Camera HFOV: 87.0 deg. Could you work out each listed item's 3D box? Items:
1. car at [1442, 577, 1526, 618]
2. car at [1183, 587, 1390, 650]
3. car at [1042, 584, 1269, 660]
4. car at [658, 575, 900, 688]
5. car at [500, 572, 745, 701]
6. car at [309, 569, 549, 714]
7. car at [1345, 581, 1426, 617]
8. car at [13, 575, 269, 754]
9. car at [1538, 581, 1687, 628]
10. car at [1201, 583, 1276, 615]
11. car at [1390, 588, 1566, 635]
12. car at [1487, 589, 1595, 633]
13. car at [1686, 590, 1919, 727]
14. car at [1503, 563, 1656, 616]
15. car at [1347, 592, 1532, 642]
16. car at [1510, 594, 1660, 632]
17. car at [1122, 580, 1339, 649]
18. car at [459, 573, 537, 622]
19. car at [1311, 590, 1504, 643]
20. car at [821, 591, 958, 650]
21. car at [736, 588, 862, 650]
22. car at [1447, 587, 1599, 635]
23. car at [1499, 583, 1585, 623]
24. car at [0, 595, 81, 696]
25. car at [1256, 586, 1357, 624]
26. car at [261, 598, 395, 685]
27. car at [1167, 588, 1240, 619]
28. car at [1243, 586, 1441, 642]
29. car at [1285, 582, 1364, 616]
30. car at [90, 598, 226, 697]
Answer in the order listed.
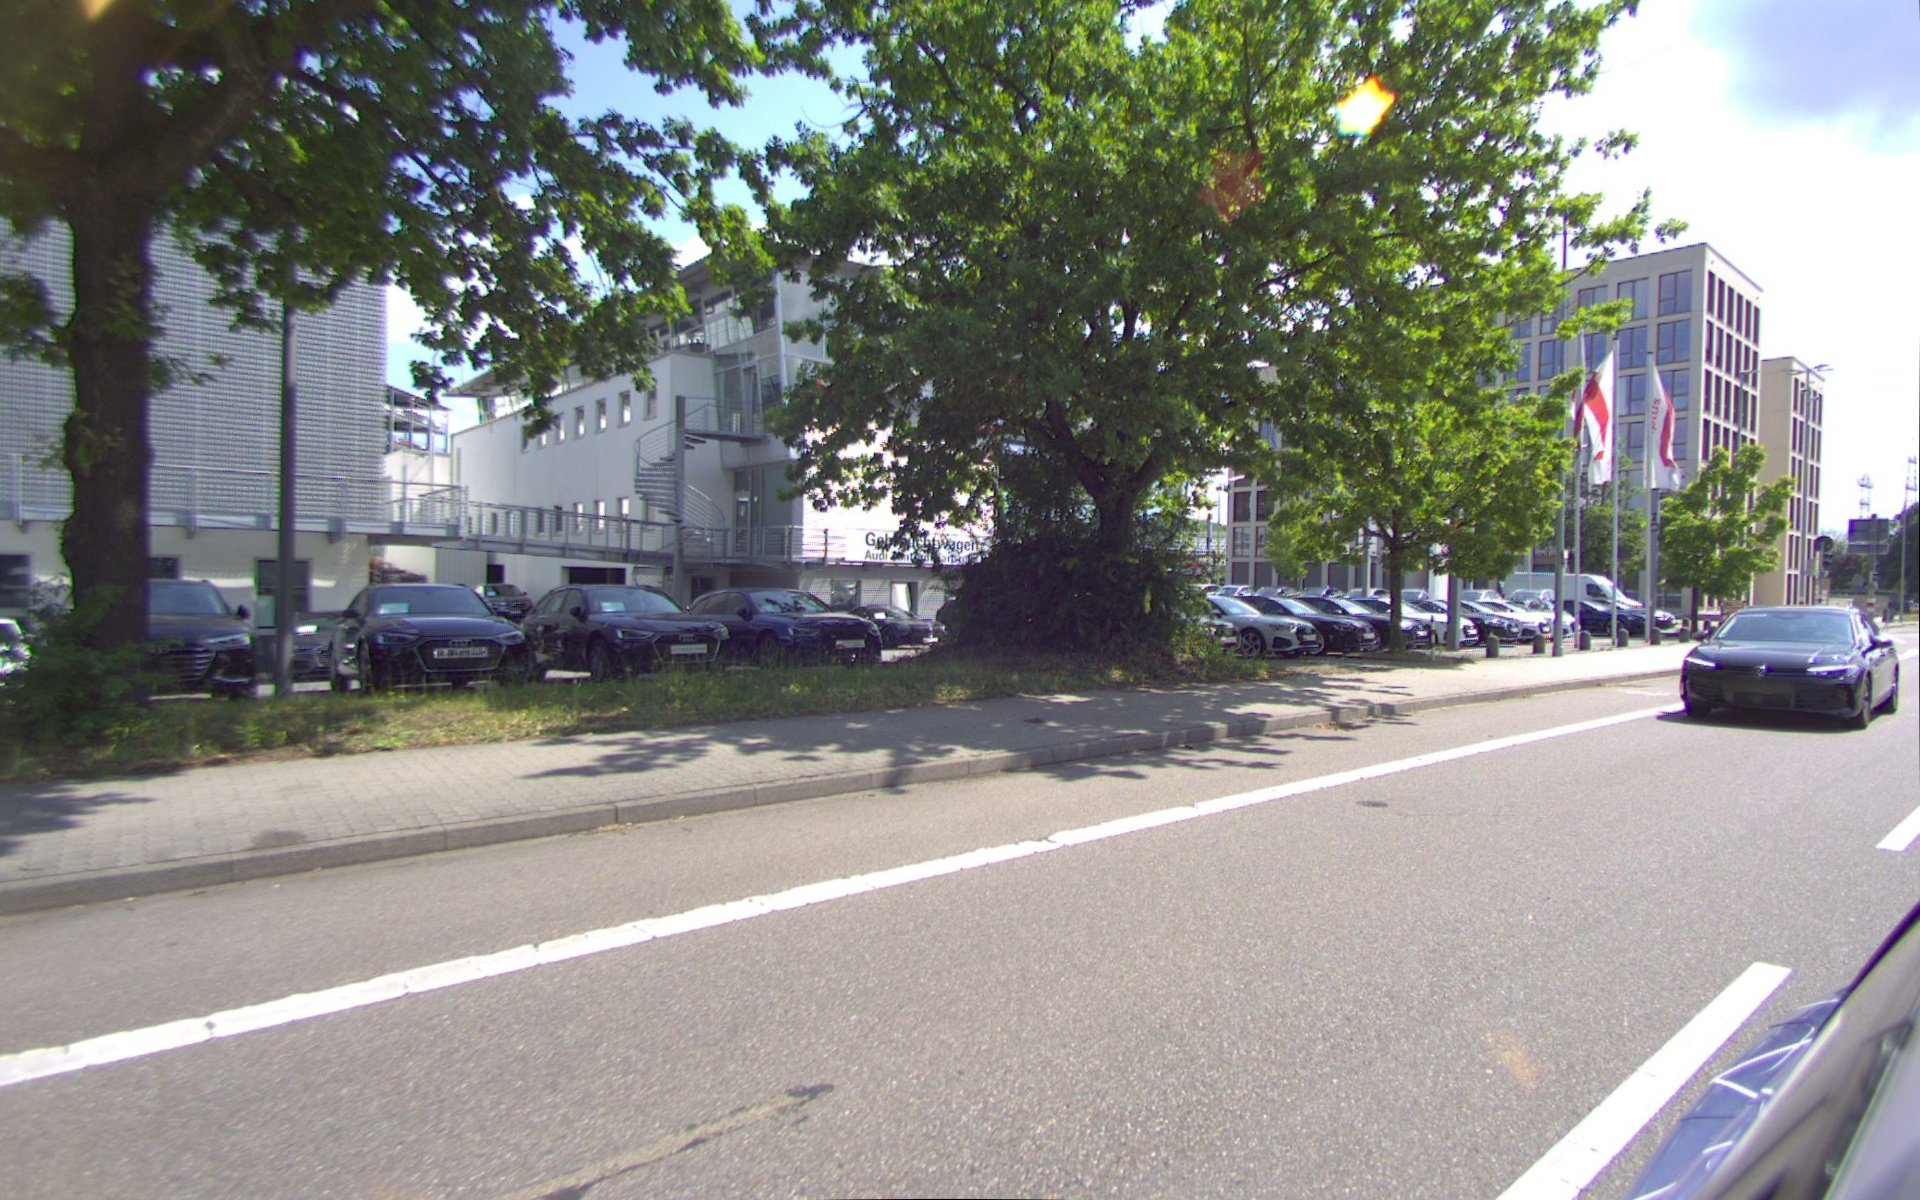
[{"bbox_3d":[25.236,-0.149,48.664,4.508,1.698,1.906,-4,3,-39],"label":"car"},{"bbox_3d":[7.902,0.469,24.883,1.873,1.402,4.583,2,-2,-40],"label":"car"},{"bbox_3d":[4.009,0.447,21.430,1.873,1.423,4.583,2,-2,-40],"label":"car"},{"bbox_3d":[-3.083,0.393,16.477,1.873,1.517,4.585,0,2,-40],"label":"car"},{"bbox_3d":[-5.080,0.395,14.796,1.873,1.517,4.585,0,2,-40],"label":"car"},{"bbox_3d":[-7.093,0.390,13.252,1.873,1.517,4.585,0,2,-40],"label":"car"},{"bbox_3d":[22.119,-0.058,52.553,4.506,1.699,1.906,2,-1,-39],"label":"car"},{"bbox_3d":[-9.106,0.523,11.315,1.873,1.517,4.585,0,2,-40],"label":"car"},{"bbox_3d":[25.757,0.157,40.075,1.873,1.699,4.584,2,-1,-40],"label":"car"},{"bbox_3d":[16.240,-0.075,58.824,4.506,1.699,1.906,2,-1,-39],"label":"car"},{"bbox_3d":[16.245,0.333,31.935,1.873,1.314,4.584,2,0,-40],"label":"car"},{"bbox_3d":[20.996,0.377,36.492,4.670,1.483,1.794,0,-1,-39],"label":"car"},{"bbox_3d":[11.609,0.691,13.747,5.115,1.496,1.811,1,0,-43],"label":"car"},{"bbox_3d":[33.610,-0.583,55.159,2.097,2.640,6.867,2,0,-33],"label":"car"},{"bbox_3d":[14.078,0.468,29.949,1.873,1.314,4.584,2,0,-40],"label":"car"},{"bbox_3d":[24.023,0.482,39.026,1.873,1.314,4.584,2,0,-40],"label":"car"},{"bbox_3d":[6.069,0.396,23.201,1.873,1.423,4.582,2,-3,-40],"label":"car"},{"bbox_3d":[-20.414,-0.140,44.649,1.966,2.039,3.992,2,-1,-43],"label":"car"},{"bbox_3d":[12.433,0.423,28.361,1.873,1.314,4.584,2,0,-40],"label":"car"},{"bbox_3d":[-2.173,0.545,30.087,1.873,1.517,4.356,0,2,-40],"label":"car"},{"bbox_3d":[-4.636,0.473,28.645,1.870,1.517,4.363,0,2,-34],"label":"car"},{"bbox_3d":[18.490,0.382,33.391,1.764,1.483,3.994,0,-1,-40],"label":"car"},{"bbox_3d":[26.715,0.160,46.403,4.506,1.699,1.906,2,-1,-39],"label":"car"},{"bbox_3d":[-17.107,0.739,18.183,1.873,1.517,4.356,0,2,-40],"label":"car"},{"bbox_3d":[15.063,0.219,43.907,4.670,1.530,1.982,0,-1,-39],"label":"car"},{"bbox_3d":[-13.515,0.788,21.518,1.873,1.517,4.356,0,2,-40],"label":"car"},{"bbox_3d":[14.764,0.210,61.195,4.506,1.699,1.906,2,-1,-39],"label":"car"},{"bbox_3d":[9.999,0.439,26.827,1.873,1.314,4.582,2,-4,-40],"label":"car"},{"bbox_3d":[19.784,-0.024,54.843,4.506,1.699,1.906,2,-1,-39],"label":"car"},{"bbox_3d":[-15.409,0.800,19.427,1.873,1.517,4.356,0,2,-40],"label":"car"}]
